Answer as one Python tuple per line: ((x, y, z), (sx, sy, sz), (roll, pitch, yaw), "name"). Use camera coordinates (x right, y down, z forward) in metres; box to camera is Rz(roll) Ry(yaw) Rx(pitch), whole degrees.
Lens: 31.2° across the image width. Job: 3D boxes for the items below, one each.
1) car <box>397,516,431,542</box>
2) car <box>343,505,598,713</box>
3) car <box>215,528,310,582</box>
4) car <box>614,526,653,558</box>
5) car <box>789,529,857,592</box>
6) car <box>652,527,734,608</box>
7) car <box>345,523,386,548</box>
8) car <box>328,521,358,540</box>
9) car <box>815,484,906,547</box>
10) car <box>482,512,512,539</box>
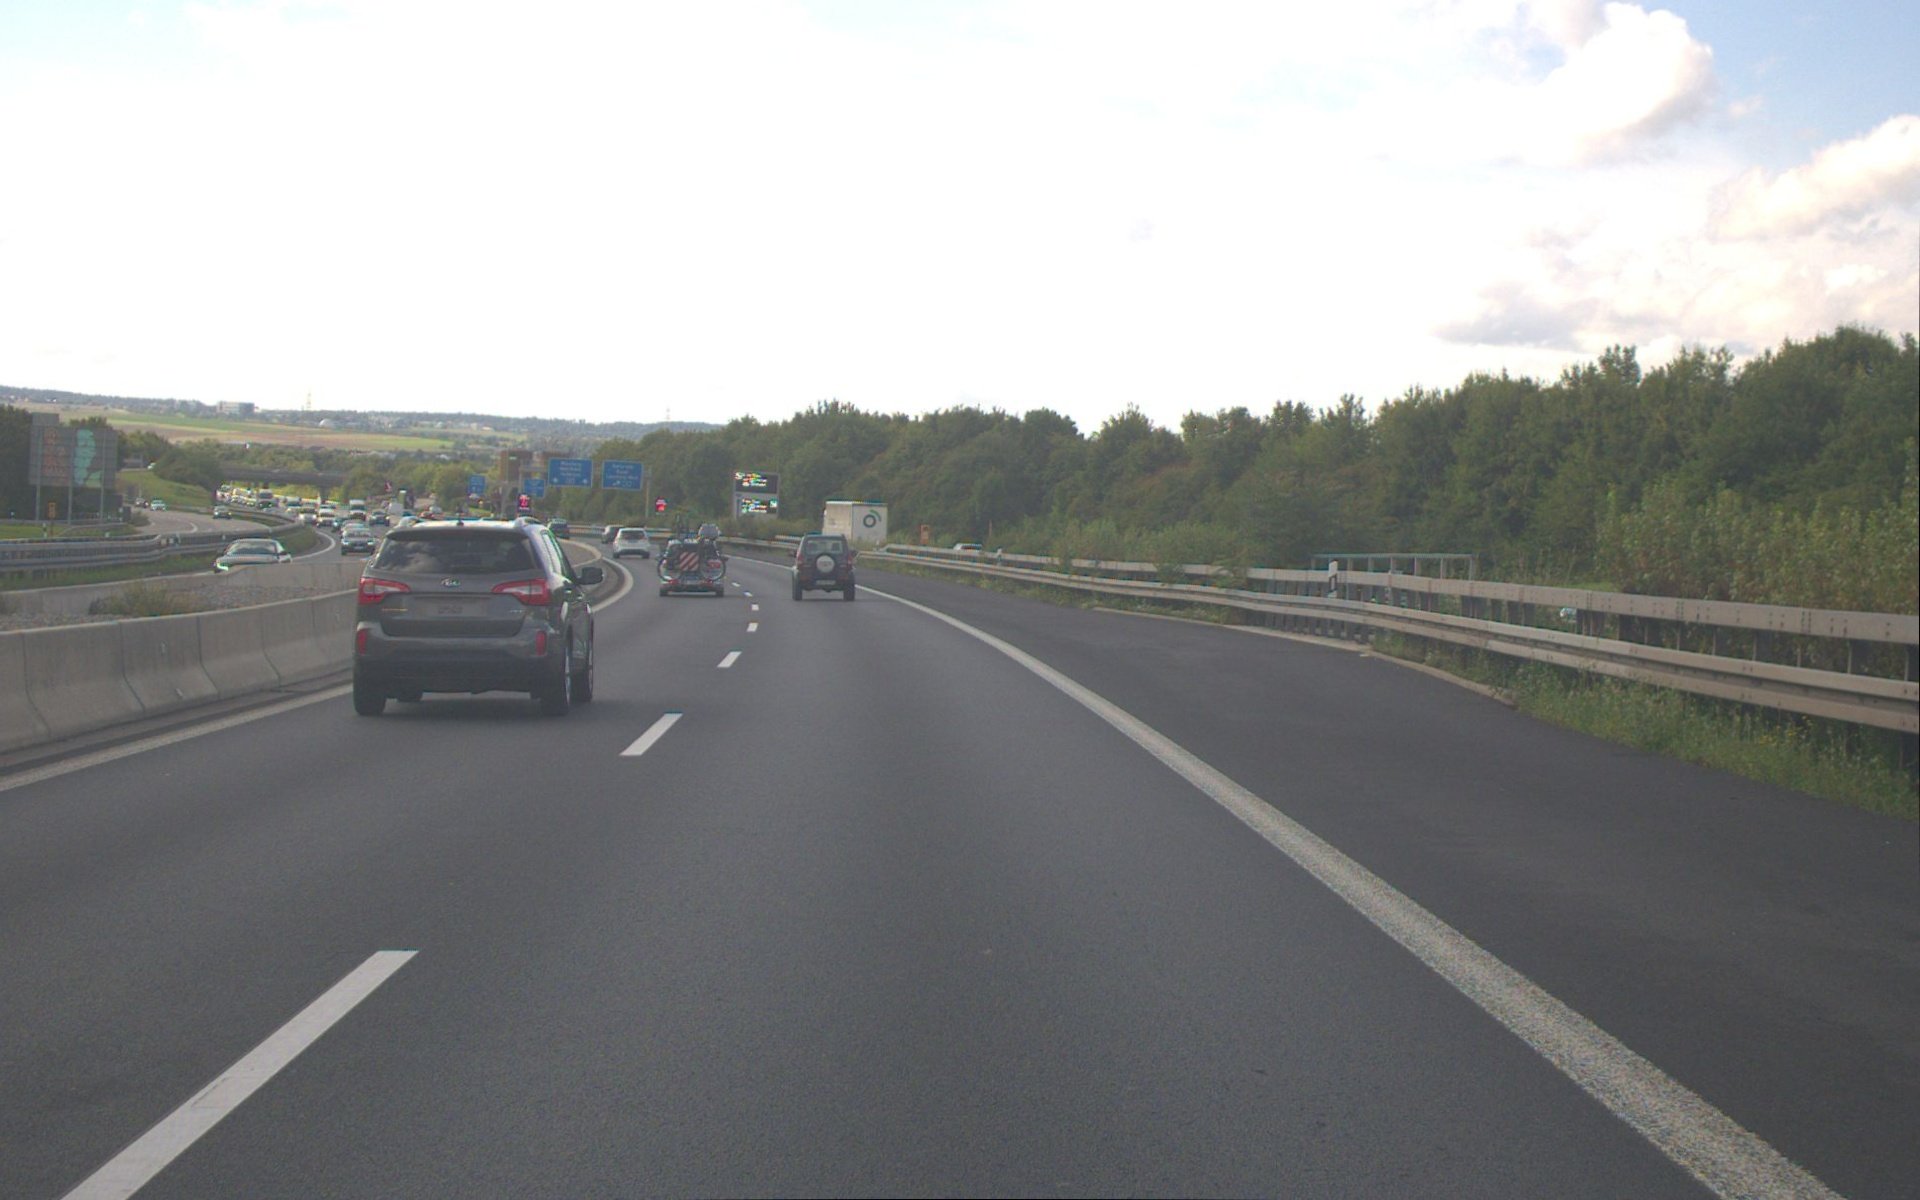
((-33.538, -4.363, 211.267), (1.885, 1.604, 4.968), (1, 1, -7), "car")
((-4.397, 0.048, 31.559), (1.817, 1.730, 5.187), (1, 1, -3), "car")
((-20.078, -1.270, 99.093), (1.874, 1.442, 5.122), (1, 0, -2), "car")
((-18.337, -3.232, 193.067), (1.993, 1.678, 4.001), (1, 0, -7), "car")
((-3.638, -1.056, 90.654), (1.587, 1.591, 4.096), (1, 1, -5), "car")
((-7.364, -0.918, 95.058), (2.030, 2.144, 4.001), (1, 1, -2), "car")
((-33.503, -3.653, 193.841), (1.993, 1.397, 4.814), (1, 1, -6), "car")
((-45.016, -5.095, 250.778), (1.868, 1.333, 4.230), (0, 1, -7), "car")
((-7.279, -6.069, 249.867), (4.727, 4.251, 11.407), (1, 0, -11), "car")
((-29.322, -4.729, 217.859), (1.885, 1.697, 4.968), (1, 1, -7), "car")
